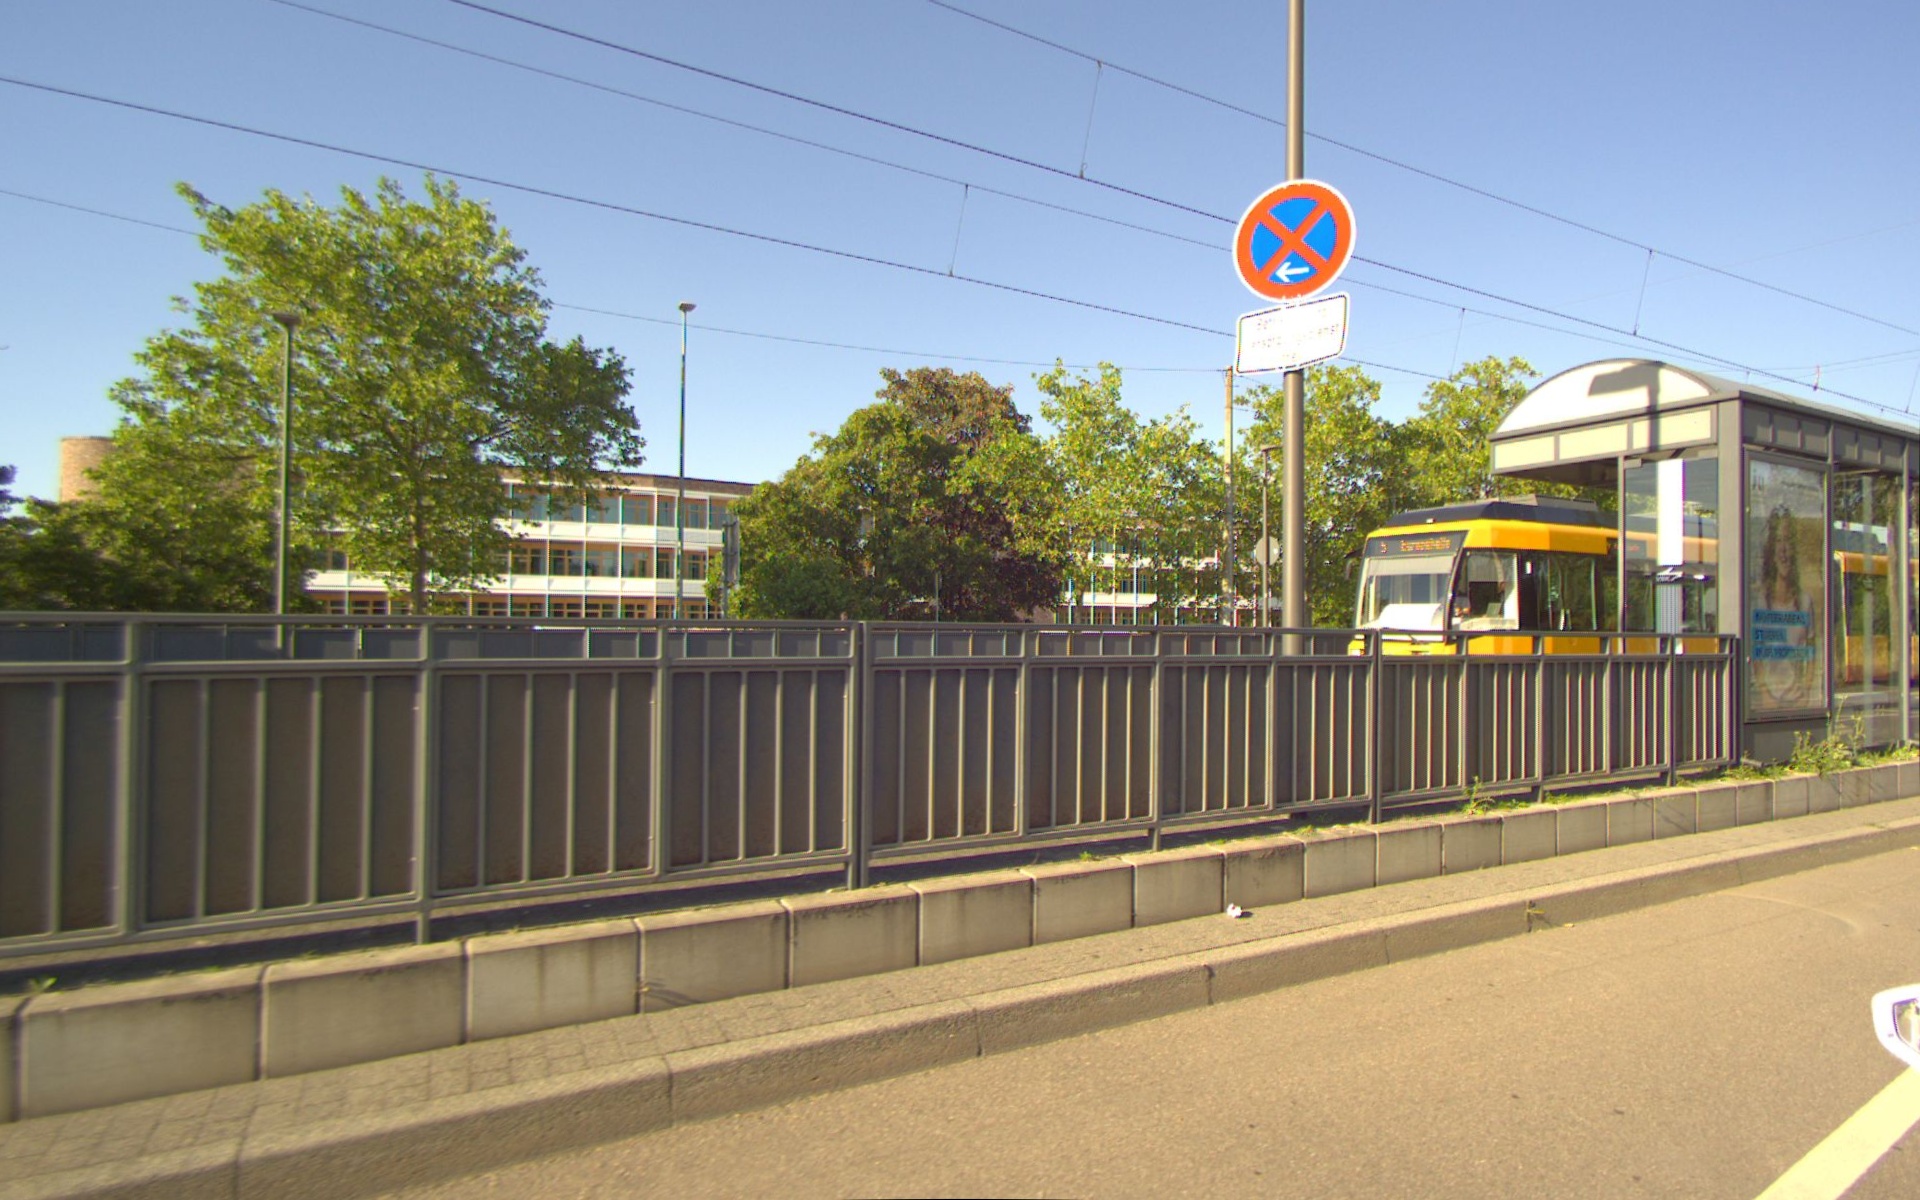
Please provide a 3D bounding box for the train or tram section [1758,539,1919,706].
[{"bbox_3d":[26.073,0.632,26.733,12.808,3.736,2.815,1,0,-29],"label":"train or tram section"}]

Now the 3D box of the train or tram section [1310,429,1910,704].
[{"bbox_3d":[13.598,-0.333,19.838,15.679,4.059,2.815,1,0,-29],"label":"train or tram section"}]
